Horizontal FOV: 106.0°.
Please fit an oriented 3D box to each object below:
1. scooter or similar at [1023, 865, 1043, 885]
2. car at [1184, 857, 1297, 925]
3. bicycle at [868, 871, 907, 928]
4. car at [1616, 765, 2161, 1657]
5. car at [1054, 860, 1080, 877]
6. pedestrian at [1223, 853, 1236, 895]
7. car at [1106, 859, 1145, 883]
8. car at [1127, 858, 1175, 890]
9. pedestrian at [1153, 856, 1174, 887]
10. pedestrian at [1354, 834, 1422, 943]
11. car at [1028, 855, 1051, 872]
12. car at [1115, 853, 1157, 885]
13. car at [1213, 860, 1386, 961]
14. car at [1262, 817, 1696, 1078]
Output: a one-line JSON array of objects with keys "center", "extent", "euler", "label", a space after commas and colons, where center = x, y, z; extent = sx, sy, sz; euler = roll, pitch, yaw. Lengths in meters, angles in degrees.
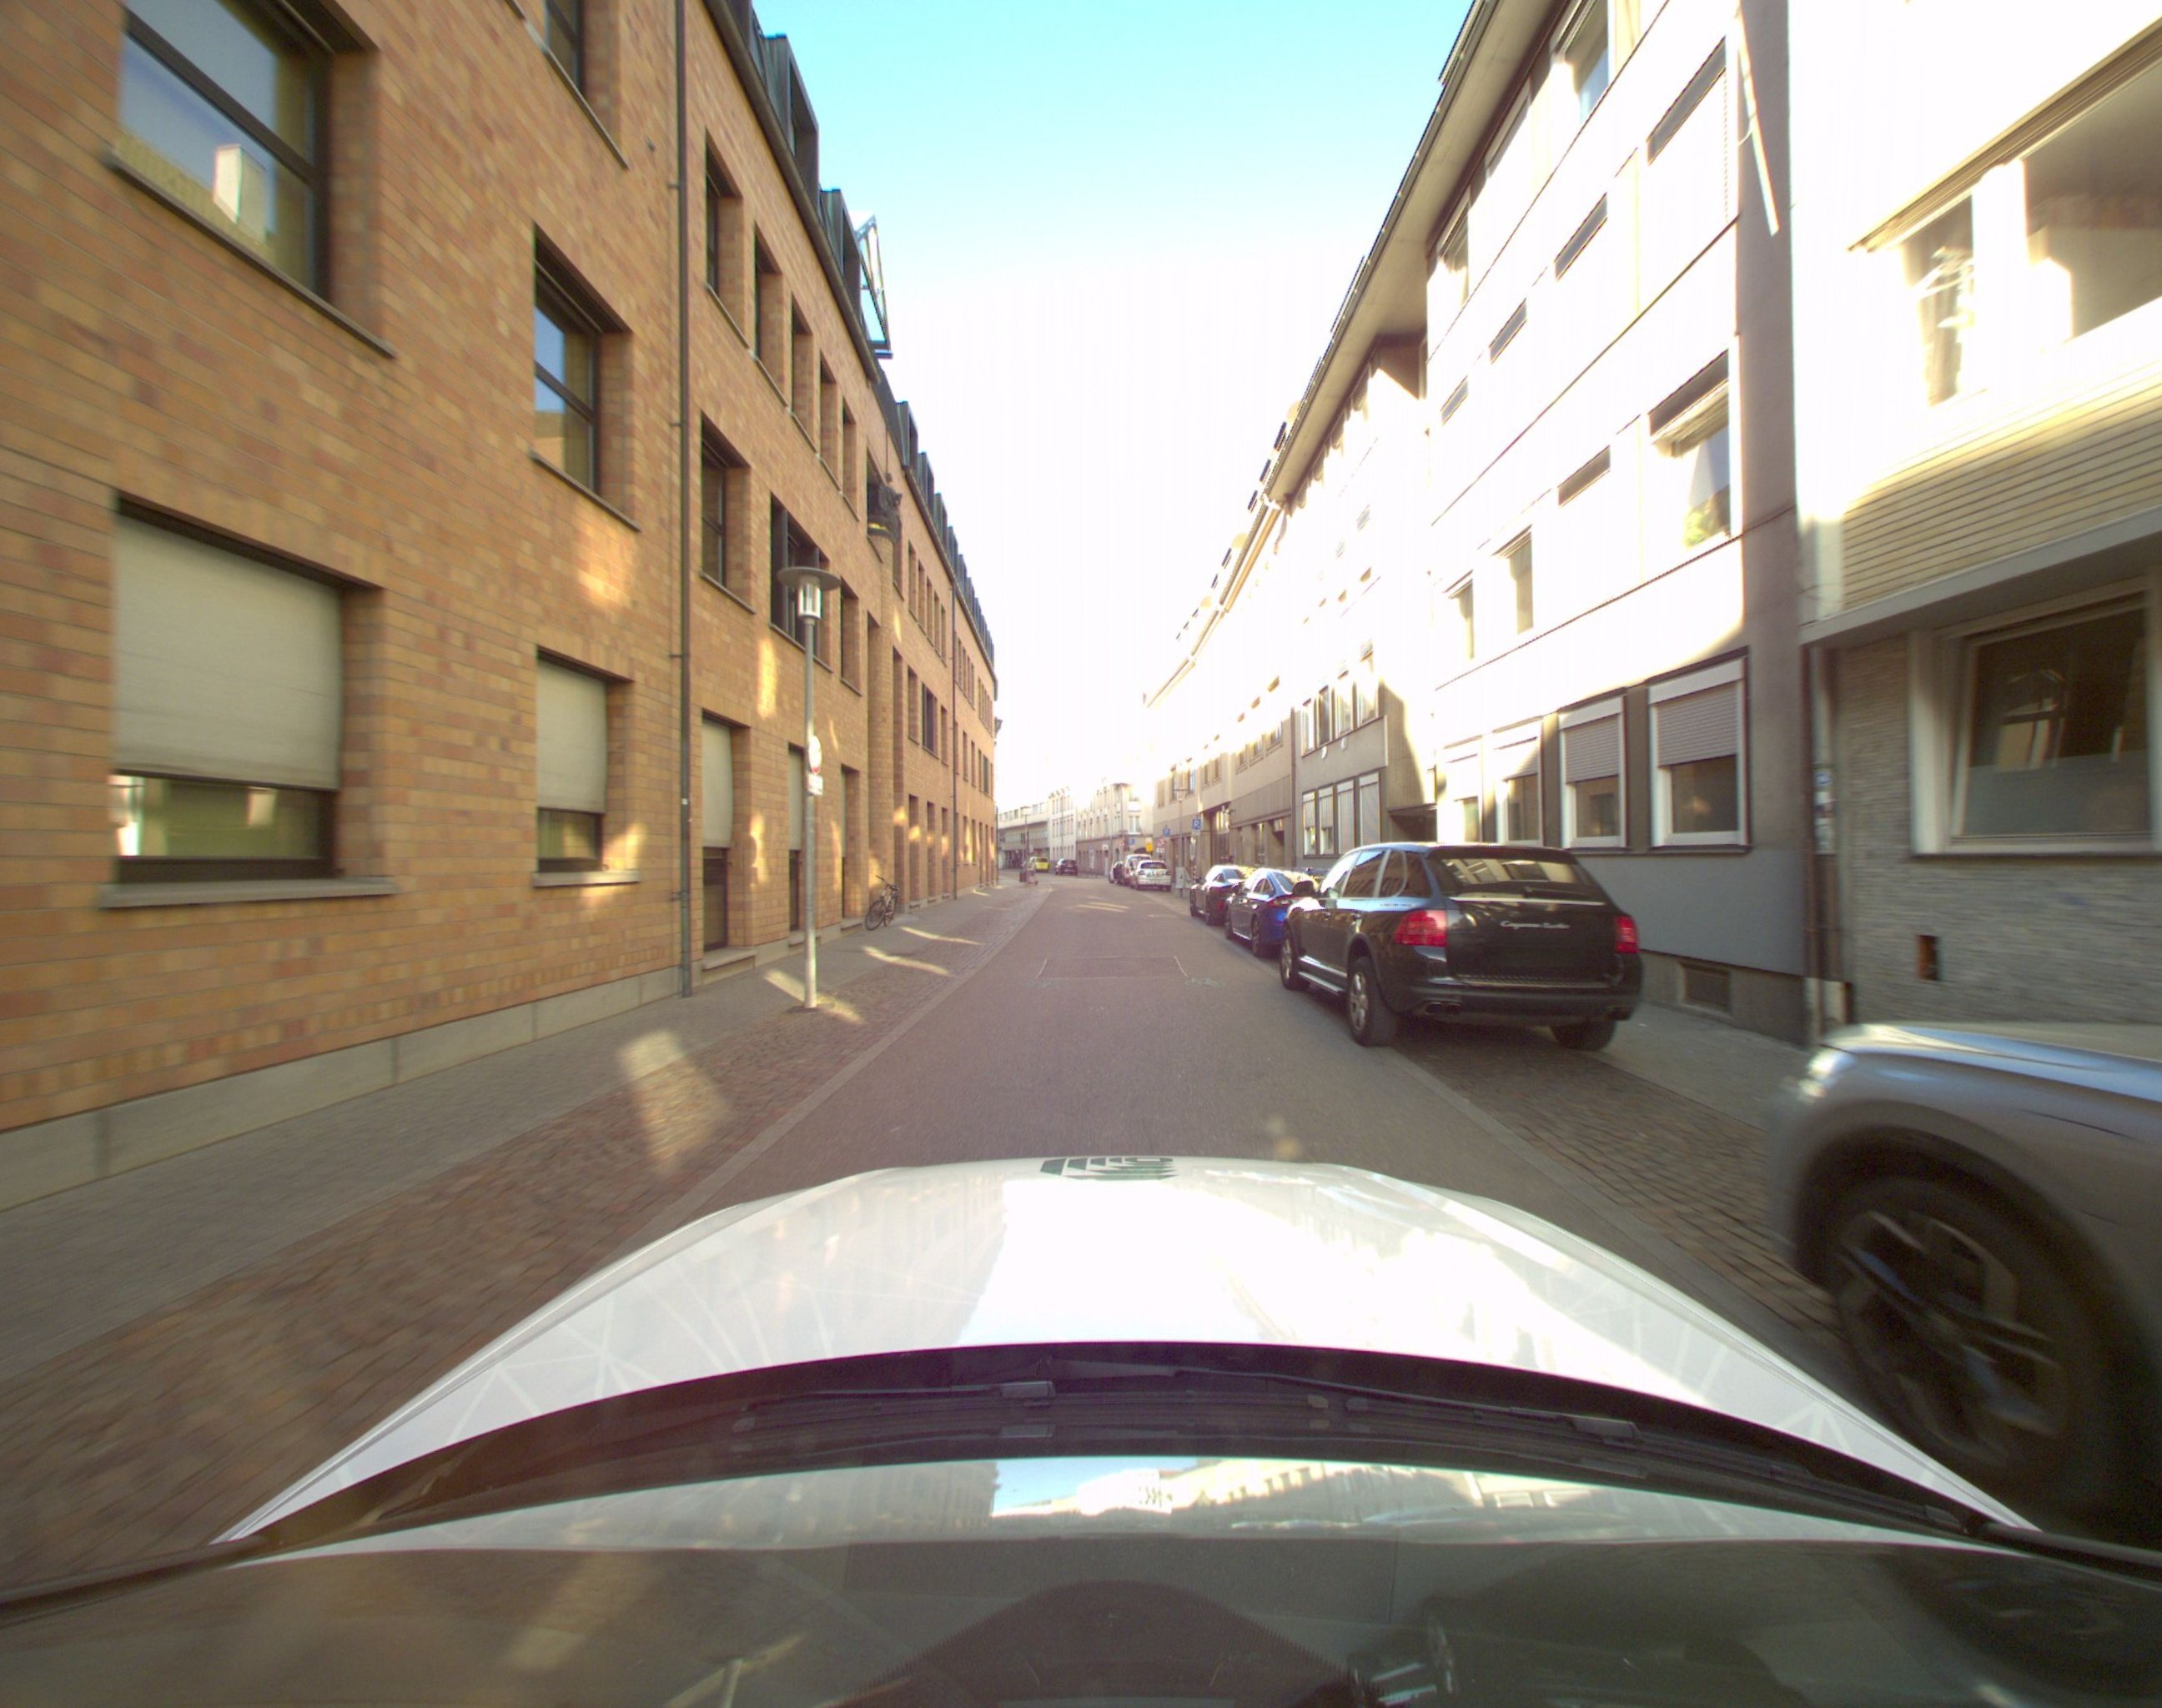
[{"center": [-3.026, 1.303, 51.671], "extent": [0.691, 1.217, 1.365], "euler": [-2, 0, 24], "label": "scooter or similar"}, {"center": [3.815, 0.819, 20.411], "extent": [1.887, 1.453, 5.226], "euler": [1, 0, 1], "label": "car"}, {"center": [-4.388, 1.002, 18.524], "extent": [0.630, 1.162, 1.799], "euler": [2, 0, -7], "label": "bicycle"}, {"center": [3.043, 0.702, 0.796], "extent": [1.986, 1.702, 4.845], "euler": [1, 0, 2], "label": "car"}, {"center": [-1.454, 1.464, 83.495], "extent": [1.968, 1.692, 4.086], "euler": [1, 0, -11], "label": "car"}, {"center": [5.995, 0.801, 32.848], "extent": [0.477, 1.654, 0.540], "euler": [-2, -1, 13], "label": "pedestrian"}, {"center": [2.897, 1.071, 53.734], "extent": [1.887, 1.518, 4.052], "euler": [0, 0, -8], "label": "car"}, {"center": [3.527, 0.977, 41.515], "extent": [1.836, 1.478, 4.163], "euler": [2, 0, -3], "label": "car"}, {"center": [4.844, 1.021, 47.807], "extent": [1.040, 1.801, 1.197], "euler": [-1, -1, -3], "label": "pedestrian"}, {"center": [5.098, 0.562, 13.566], "extent": [0.786, 1.721, 0.747], "euler": [-3, 0, 1], "label": "pedestrian"}, {"center": [-5.111, 1.114, 99.665], "extent": [2.056, 2.014, 4.153], "euler": [0, 0, -15], "label": "car"}, {"center": [3.176, 0.849, 47.806], "extent": [1.826, 1.791, 5.207], "euler": [0, -1, -3], "label": "car"}, {"center": [3.607, 0.850, 14.377], "extent": [1.801, 1.412, 4.790], "euler": [1, 0, 1], "label": "car"}, {"center": [3.329, 0.653, 8.198], "extent": [2.095, 1.786, 5.055], "euler": [1, 0, 2], "label": "car"}]
